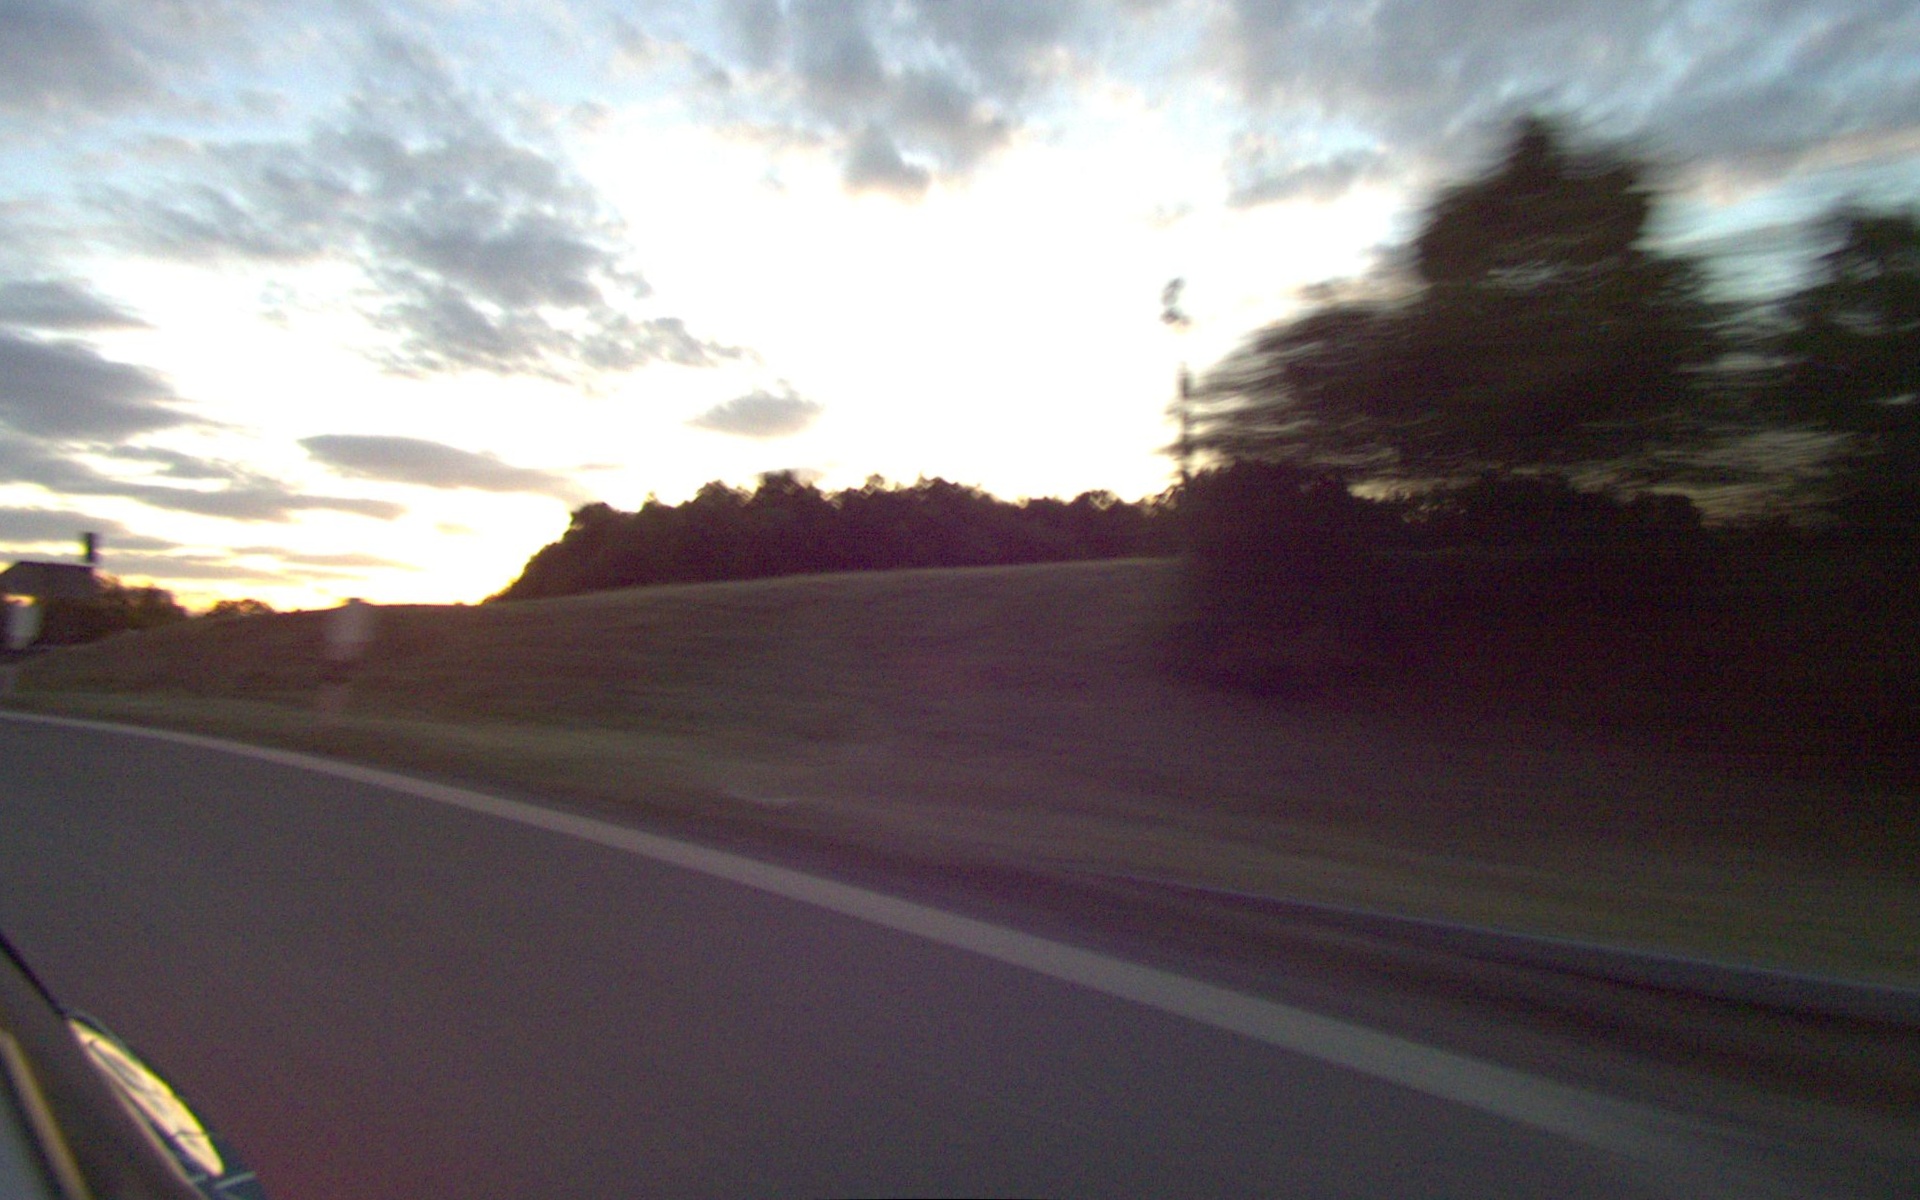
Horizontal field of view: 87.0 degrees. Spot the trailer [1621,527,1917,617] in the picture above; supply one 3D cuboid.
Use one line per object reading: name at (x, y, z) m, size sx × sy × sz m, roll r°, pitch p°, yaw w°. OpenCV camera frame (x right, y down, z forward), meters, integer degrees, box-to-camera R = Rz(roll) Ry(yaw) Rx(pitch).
trailer at (40.136, -1.425, 50.166) m, size 14.571 × 3.946 × 2.790 m, roll -1°, pitch -4°, yaw -13°
